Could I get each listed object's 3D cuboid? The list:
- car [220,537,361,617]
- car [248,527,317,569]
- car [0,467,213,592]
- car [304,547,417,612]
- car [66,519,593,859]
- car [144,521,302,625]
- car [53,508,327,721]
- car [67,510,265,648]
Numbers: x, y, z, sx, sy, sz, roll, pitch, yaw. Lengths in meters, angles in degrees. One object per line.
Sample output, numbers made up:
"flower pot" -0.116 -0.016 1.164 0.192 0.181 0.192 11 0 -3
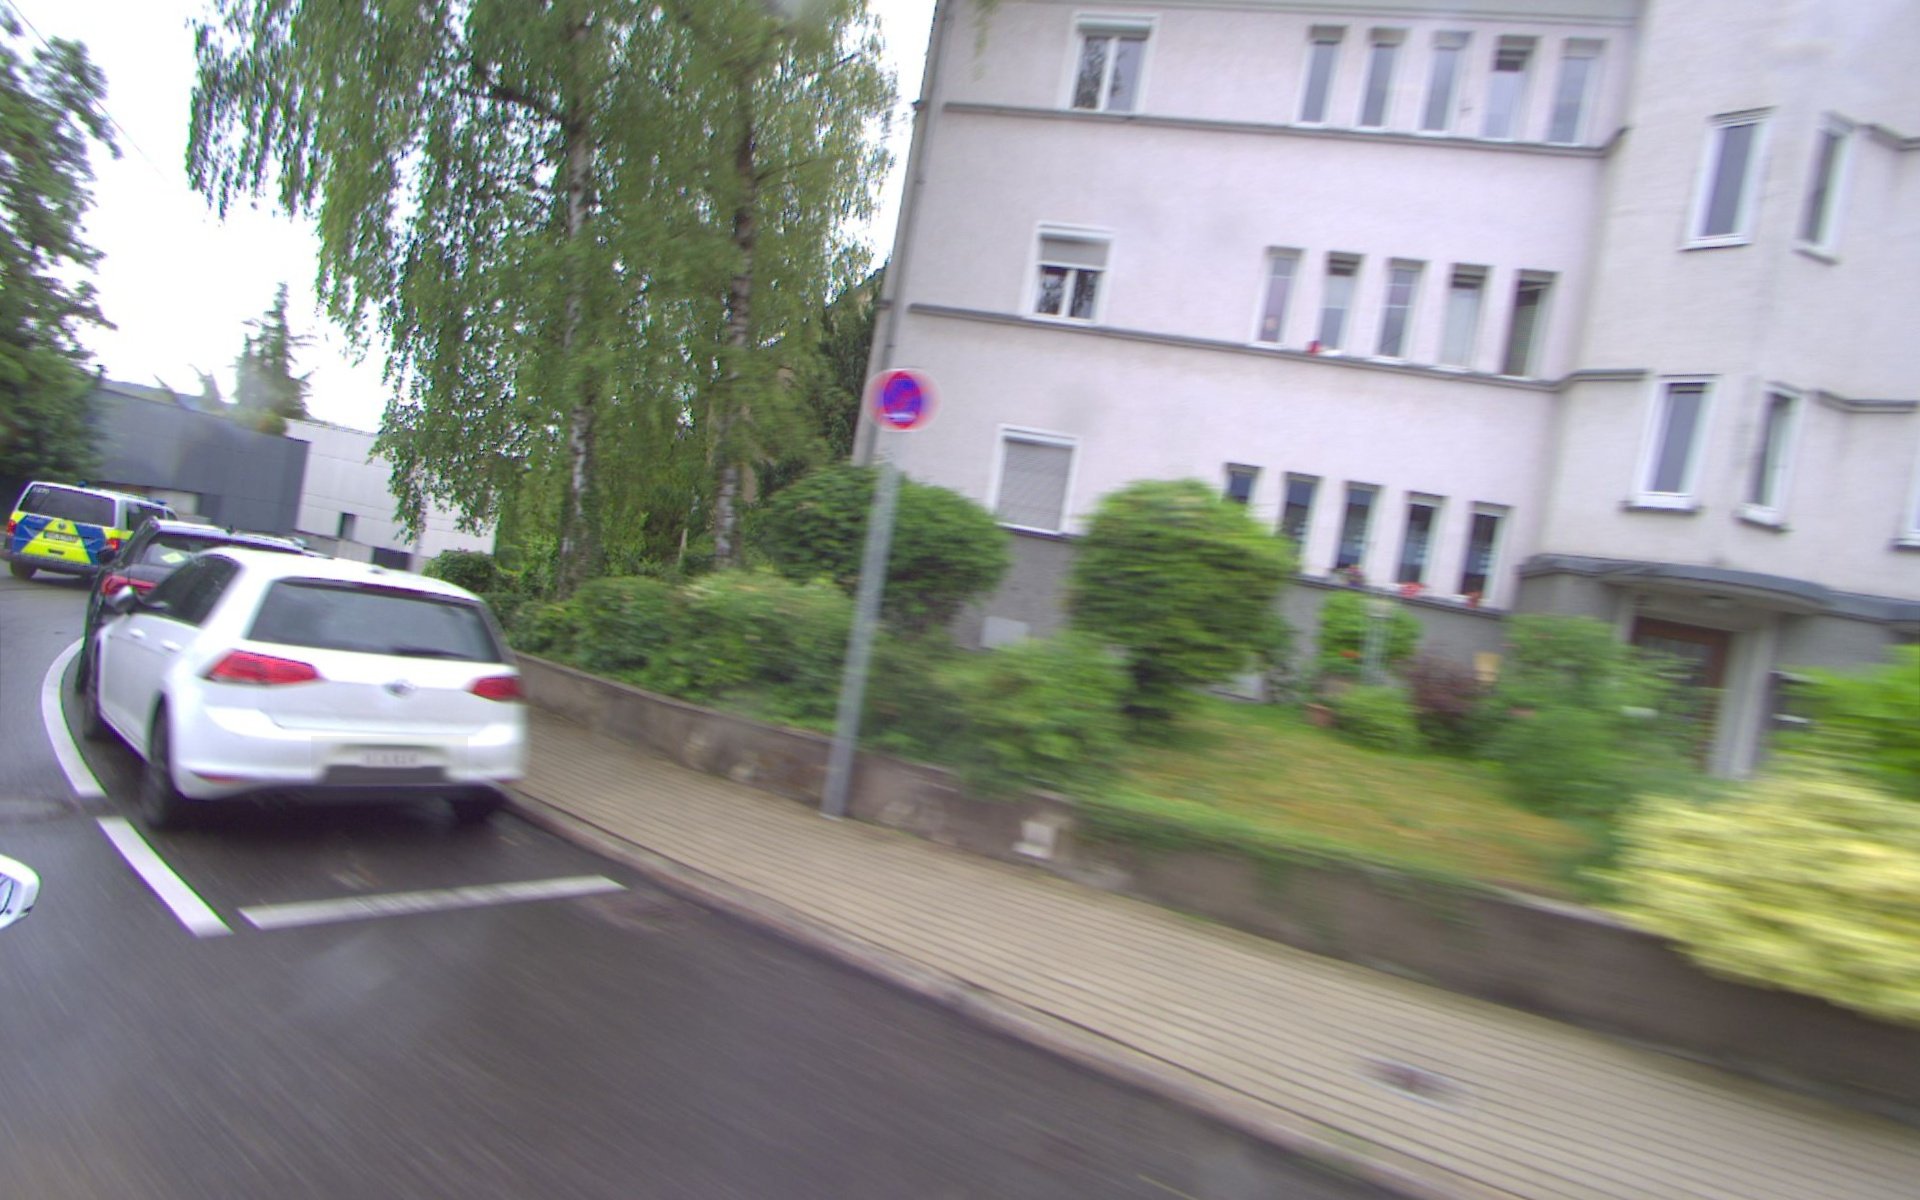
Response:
"car" -15.023 -0.499 22.801 1.697 1.452 4.050 7 -2 -21
"car" -31.527 -2.433 46.757 1.889 1.315 3.949 13 -3 -43
"car" -18.091 -1.349 21.427 1.974 1.912 4.554 11 -4 -19
"car" -16.479 -0.531 27.854 1.662 1.489 3.728 7 -2 -16
"car" -4.281 0.417 6.532 4.051 1.461 1.789 6 -4 43
"car" -13.320 -0.480 18.392 1.606 1.523 3.582 8 -2 -27
"car" -7.477 0.023 9.797 1.617 1.537 4.279 8 0 -39
"car" -10.890 -0.318 14.068 1.716 1.481 3.995 8 -2 -34
